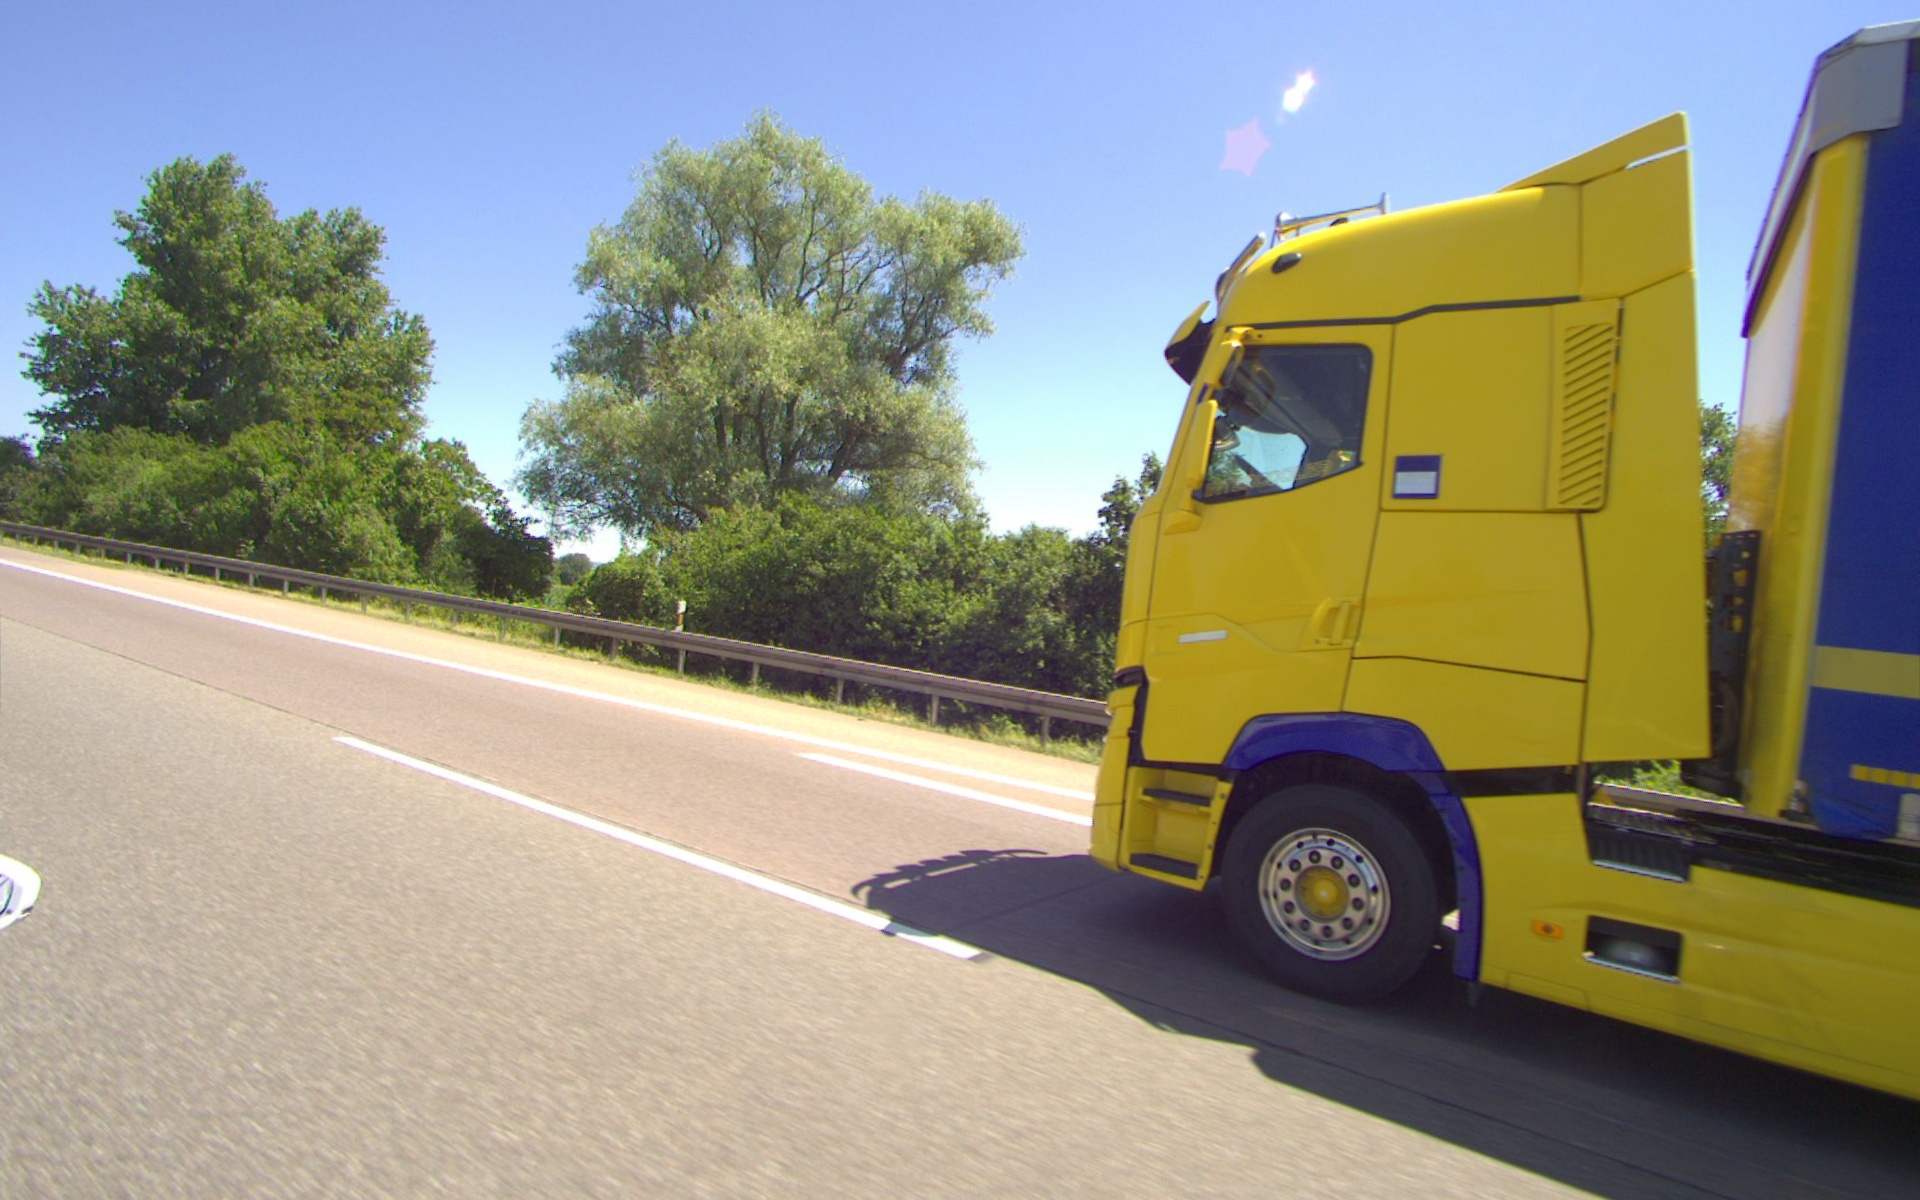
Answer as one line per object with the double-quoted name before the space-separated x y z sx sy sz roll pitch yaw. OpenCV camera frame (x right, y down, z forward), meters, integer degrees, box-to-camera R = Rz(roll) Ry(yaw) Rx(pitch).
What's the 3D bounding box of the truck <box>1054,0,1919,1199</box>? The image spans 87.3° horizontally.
"truck" 8.345 0.417 1.827 16.519 4.309 2.847 6 0 33
